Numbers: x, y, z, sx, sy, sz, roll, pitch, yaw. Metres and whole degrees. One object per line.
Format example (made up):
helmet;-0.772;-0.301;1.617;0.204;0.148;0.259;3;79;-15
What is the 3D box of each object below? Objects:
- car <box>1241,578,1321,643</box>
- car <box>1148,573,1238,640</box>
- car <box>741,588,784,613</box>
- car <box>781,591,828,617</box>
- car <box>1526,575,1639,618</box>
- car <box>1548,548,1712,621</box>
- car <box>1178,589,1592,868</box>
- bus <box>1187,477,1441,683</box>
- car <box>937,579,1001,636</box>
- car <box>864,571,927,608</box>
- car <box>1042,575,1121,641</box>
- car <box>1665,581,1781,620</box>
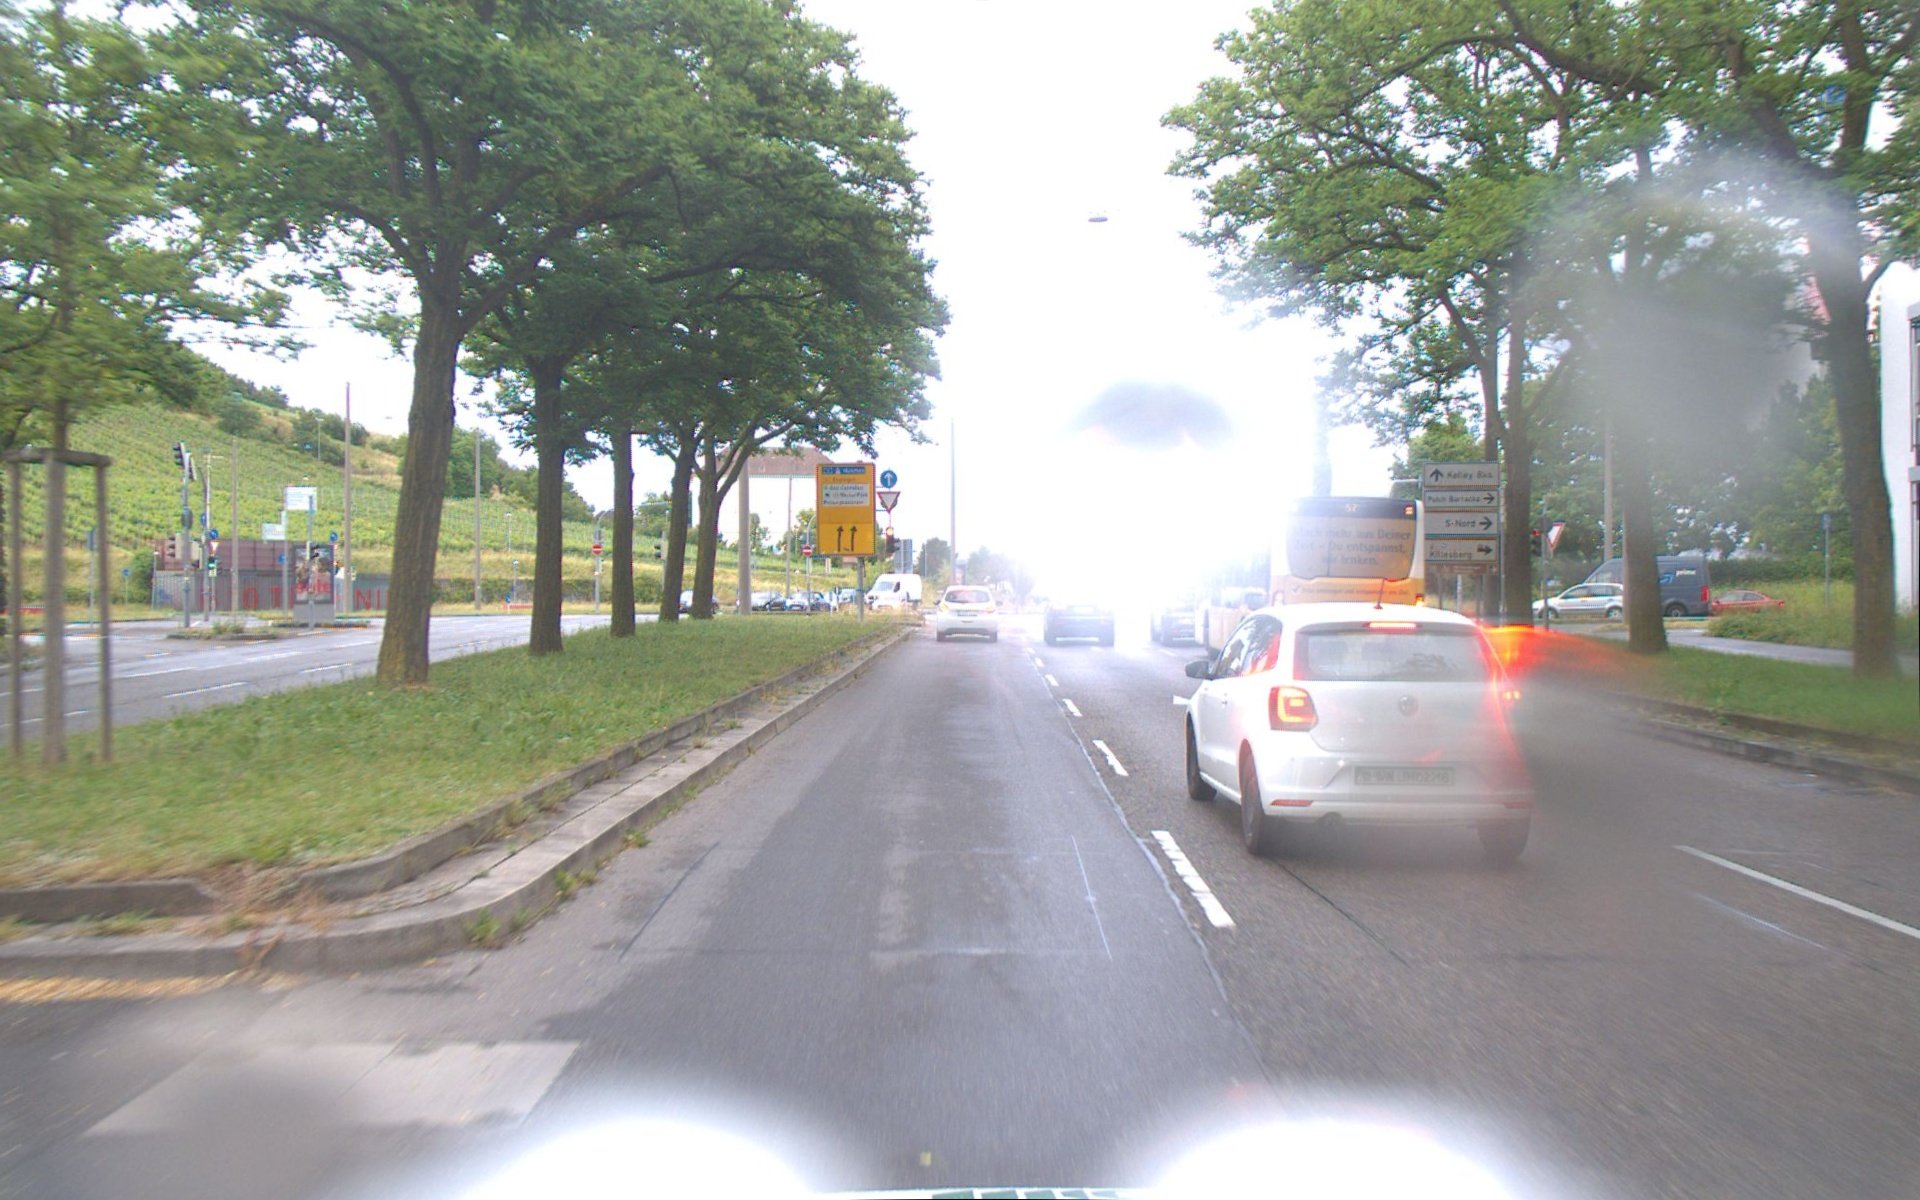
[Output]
car;8.522;0.291;43.707;1.826;1.524;4.154;3;0;13
car;6.279;0.124;45.005;1.827;1.703;4.566;1;1;0
car;-12.153;0.045;102.050;1.748;1.420;3.884;1;-1;7
car;-9.397;0.258;100.118;1.748;1.420;3.885;1;-1;12
car;24.269;-0.133;64.484;3.968;1.596;1.869;1;-2;25
car;26.832;-0.627;66.250;5.895;2.789;2.078;1;-1;28
car;2.558;0.699;10.873;1.705;1.457;3.811;2;0;0
bus;6.498;-0.420;32.567;2.670;3.207;12.149;2;1;2
car;0.269;0.200;45.837;1.682;1.515;4.000;1;0;1
car;-4.773;-0.785;123.815;1.955;2.604;6.163;2;0;26
car;3.188;0.213;44.148;1.845;1.623;4.114;2;0;1
car;32.697;0.028;70.891;4.435;1.495;2.160;2;0;27
